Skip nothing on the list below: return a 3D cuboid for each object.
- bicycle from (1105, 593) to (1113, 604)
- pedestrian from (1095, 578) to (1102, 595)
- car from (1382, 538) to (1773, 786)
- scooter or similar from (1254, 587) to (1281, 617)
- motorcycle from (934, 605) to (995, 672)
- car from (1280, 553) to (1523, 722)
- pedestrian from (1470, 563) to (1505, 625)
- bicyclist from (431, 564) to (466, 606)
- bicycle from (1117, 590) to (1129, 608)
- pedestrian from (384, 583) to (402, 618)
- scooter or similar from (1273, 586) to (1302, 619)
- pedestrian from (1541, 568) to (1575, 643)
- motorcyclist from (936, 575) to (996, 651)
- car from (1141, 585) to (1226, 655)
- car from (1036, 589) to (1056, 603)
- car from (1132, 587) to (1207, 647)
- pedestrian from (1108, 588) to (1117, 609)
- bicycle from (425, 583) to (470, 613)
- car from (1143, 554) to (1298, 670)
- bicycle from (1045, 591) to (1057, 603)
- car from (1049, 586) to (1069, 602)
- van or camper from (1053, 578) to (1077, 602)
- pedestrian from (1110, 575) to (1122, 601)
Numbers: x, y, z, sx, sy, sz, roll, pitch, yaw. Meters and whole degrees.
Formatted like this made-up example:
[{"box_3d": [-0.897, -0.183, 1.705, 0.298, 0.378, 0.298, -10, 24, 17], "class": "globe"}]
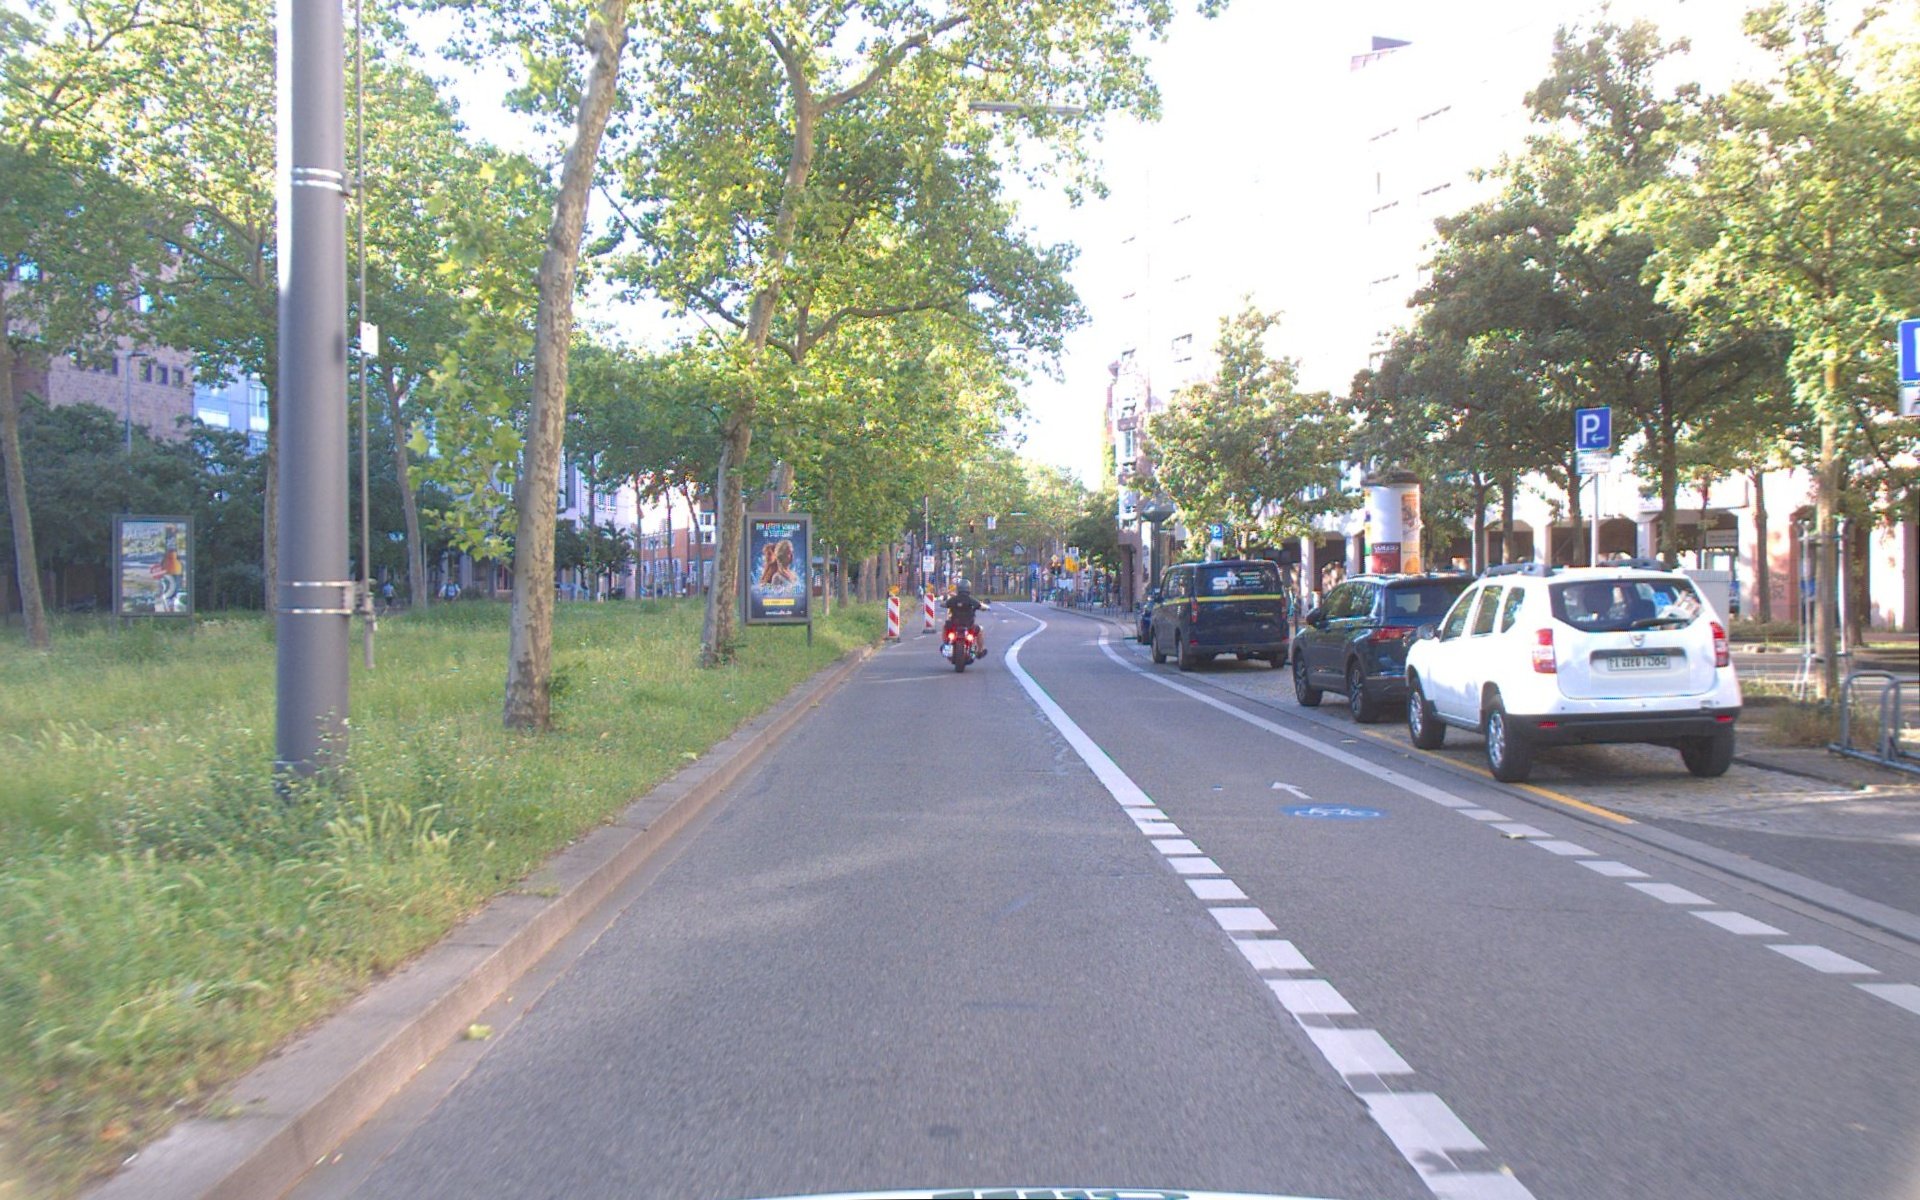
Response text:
[{"box_3d": [13.958, -0.139, 154.758, 0.721, 0.956, 1.753, 0, 0, 5], "class": "bicycle"}, {"box_3d": [14.174, -1.353, 168.949, 0.685, 1.764, 0.768, 0, 0, 4], "class": "pedestrian"}, {"box_3d": [5.076, 0.427, 14.312, 1.761, 1.754, 4.461, -2, 1, 1], "class": "car"}, {"box_3d": [12.649, 0.070, 68.057, 0.477, 1.238, 1.442, 0, 0, -19], "class": "scooter or similar"}, {"box_3d": [0.067, 0.663, 29.148, 0.997, 1.116, 2.007, 0, 0, -2], "class": "motorcycle"}, {"box_3d": [5.183, 0.374, 20.033, 1.761, 1.754, 4.575, -2, 1, 1], "class": "car"}, {"box_3d": [17.343, -0.197, 54.403, 0.802, 2.016, 0.845, 0, 0, -14], "class": "pedestrian"}, {"box_3d": [-19.601, -0.587, 63.390, 0.922, 1.598, 1.209, 0, 0, 1], "class": "bicyclist"}, {"box_3d": [11.350, -0.049, 115.297, 0.608, 1.247, 1.928, 0, 0, 13], "class": "bicycle"}, {"box_3d": [-28.861, 0.029, 84.192, 0.713, 1.770, 0.648, 0, 0, 4], "class": "pedestrian"}, {"box_3d": [13.050, 0.109, 65.865, 0.477, 1.296, 1.442, 0, 0, -19], "class": "scooter or similar"}, {"box_3d": [16.322, 0.148, 45.164, 0.626, 2.016, 0.775, 0, 0, -3], "class": "pedestrian"}, {"box_3d": [0.096, 0.215, 29.144, 0.991, 1.285, 0.774, 2, 0, -2], "class": "motorcyclist"}, {"box_3d": [5.163, 0.421, 38.577, 1.666, 1.491, 4.177, -1, 0, 4], "class": "car"}, {"box_3d": [8.468, -0.418, 162.696, 1.585, 1.325, 4.315, 0, 0, 9], "class": "car"}, {"box_3d": [5.608, 0.416, 44.673, 1.666, 1.509, 4.250, -1, 0, 3], "class": "car"}, {"box_3d": [12.260, -0.145, 133.178, 0.450, 1.702, 0.679, 0, 0, 30], "class": "pedestrian"}, {"box_3d": [-19.589, -0.078, 63.298, 0.937, 1.146, 2.436, 0, 0, 1], "class": "bicycle"}, {"box_3d": [4.891, 0.191, 31.823, 1.996, 1.977, 5.197, -2, 1, -1], "class": "car"}, {"box_3d": [8.559, -0.281, 155.540, 0.723, 1.071, 1.749, 0, 0, -9], "class": "bicycle"}, {"box_3d": [10.360, -0.594, 172.472, 1.585, 1.647, 4.489, 0, 0, 10], "class": "car"}, {"box_3d": [11.406, -1.102, 179.079, 2.005, 2.585, 5.778, 0, 0, 10], "class": "van or camper"}, {"box_3d": [10.420, -0.811, 110.327, 0.764, 1.769, 0.837, 0, 0, 9], "class": "pedestrian"}]
